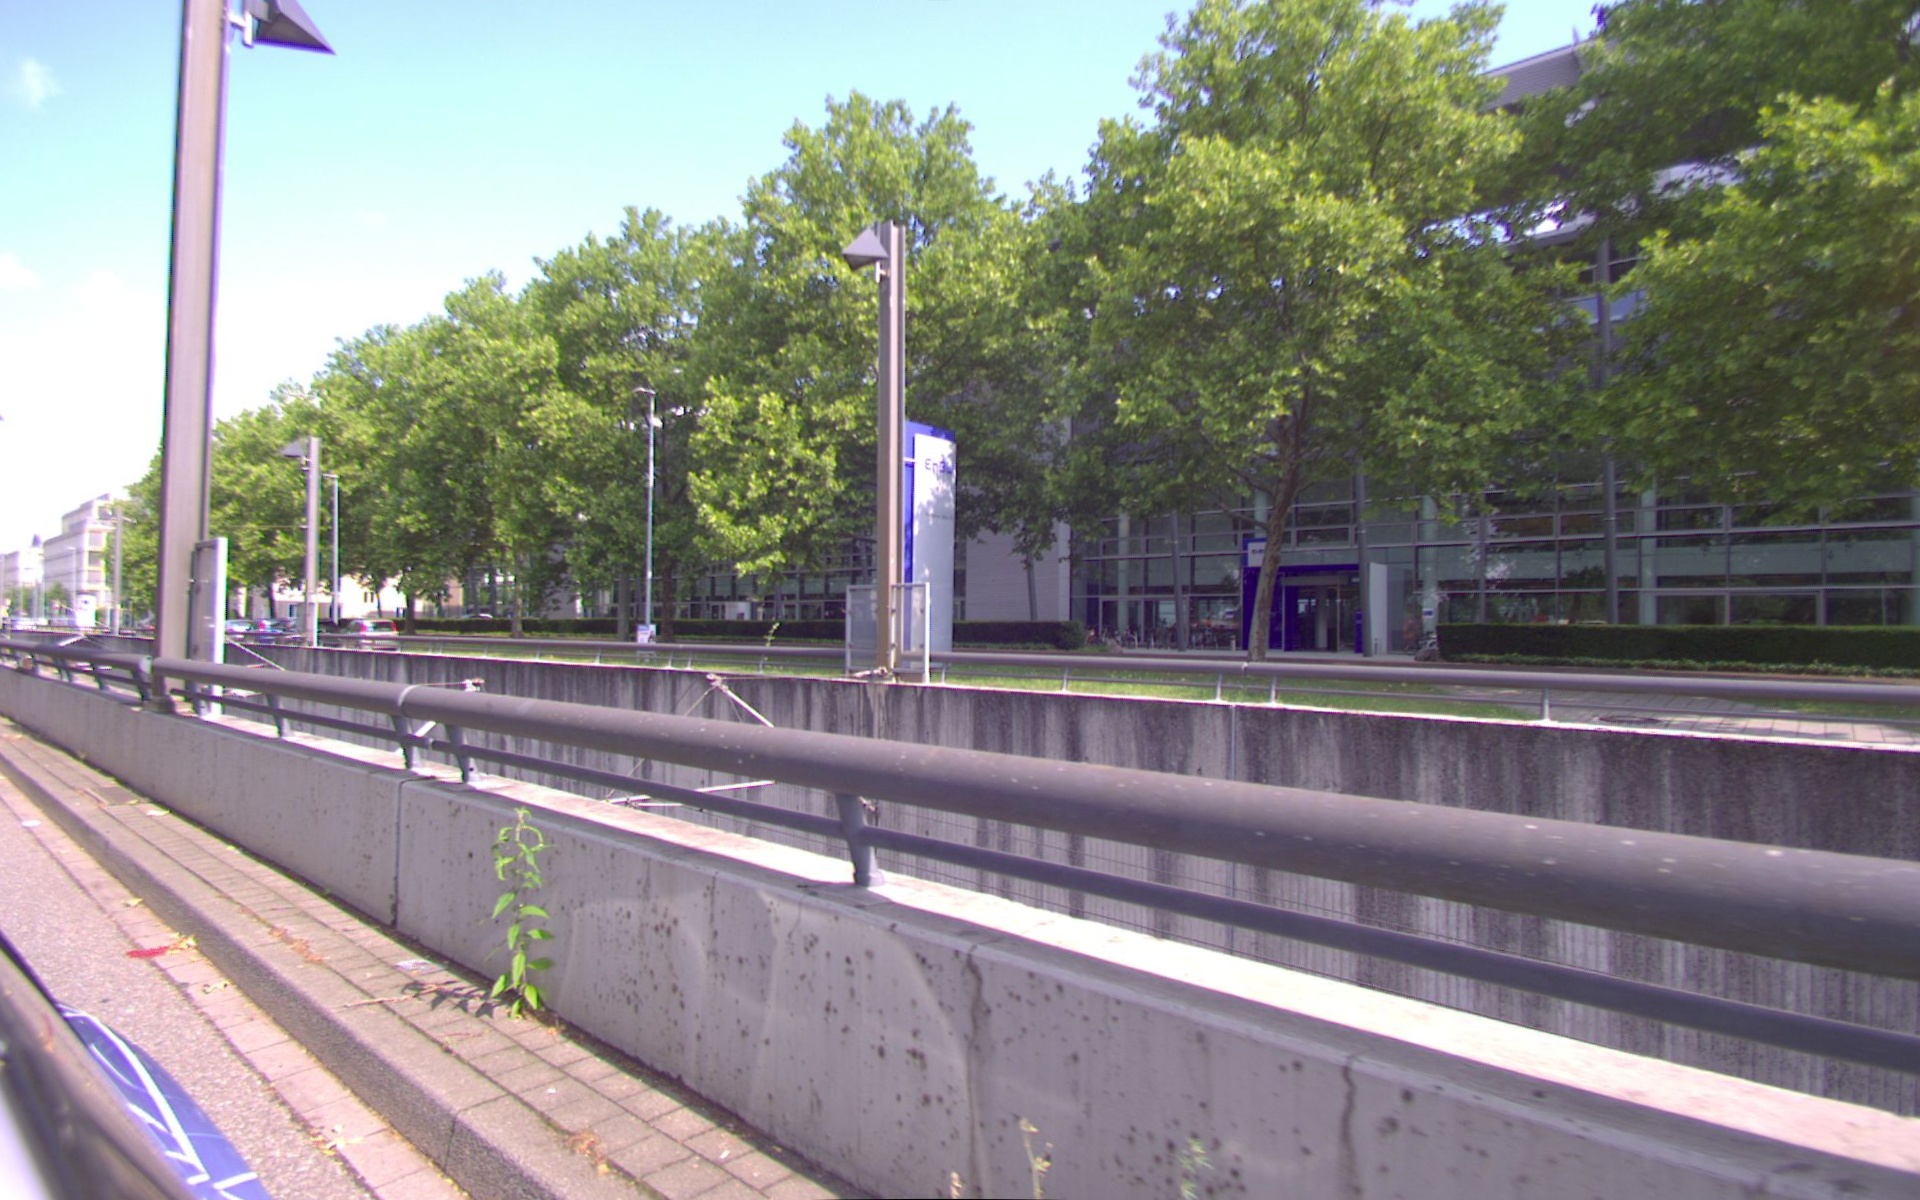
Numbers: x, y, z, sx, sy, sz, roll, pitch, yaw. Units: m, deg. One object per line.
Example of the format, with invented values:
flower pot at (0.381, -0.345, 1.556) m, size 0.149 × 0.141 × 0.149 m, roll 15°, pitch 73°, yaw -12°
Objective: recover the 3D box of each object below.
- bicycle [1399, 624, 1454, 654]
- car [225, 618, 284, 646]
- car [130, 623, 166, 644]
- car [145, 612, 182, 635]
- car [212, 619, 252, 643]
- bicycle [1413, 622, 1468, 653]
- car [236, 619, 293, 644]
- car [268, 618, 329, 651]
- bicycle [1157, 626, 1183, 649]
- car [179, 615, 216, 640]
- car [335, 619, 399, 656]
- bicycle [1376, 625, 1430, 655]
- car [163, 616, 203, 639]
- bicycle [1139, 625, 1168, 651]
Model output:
bicycle at (18.403, 1.546, 39.921) m, size 2.232 × 1.158 × 0.638 m, roll 2°, pitch -2°, yaw -24°
car at (-35.831, 1.621, 51.367) m, size 3.895 × 1.387 × 1.559 m, roll -1°, pitch -2°, yaw 42°
car at (-54.139, 2.211, 67.466) m, size 3.184 × 1.387 × 1.292 m, roll -1°, pitch -2°, yaw 42°
car at (-50.479, 1.487, 64.139) m, size 3.184 × 1.387 × 1.292 m, roll -1°, pitch -2°, yaw 42°
car at (-39.029, 1.641, 54.234) m, size 2.548 × 1.253 × 1.165 m, roll -1°, pitch -1°, yaw 41°
bicycle at (18.641, 1.464, 39.264) m, size 2.232 × 1.158 × 0.638 m, roll 2°, pitch -2°, yaw -25°
car at (-34.970, 1.598, 50.877) m, size 3.126 × 1.215 × 1.590 m, roll -1°, pitch -2°, yaw 41°
car at (-30.512, 1.565, 46.660) m, size 3.156 × 1.445 × 1.561 m, roll -1°, pitch -2°, yaw 42°
bicycle at (9.594, 1.716, 46.239) m, size 0.586 × 1.031 × 2.339 m, roll 0°, pitch -1°, yaw -2°
car at (-43.553, 1.550, 57.780) m, size 2.744 × 1.387 × 1.152 m, roll -1°, pitch -2°, yaw 42°
car at (-24.930, 1.564, 42.506) m, size 3.156 × 1.467 × 1.402 m, roll -1°, pitch -2°, yaw 42°
bicycle at (17.956, 1.620, 40.981) m, size 2.232 × 1.158 × 0.638 m, roll 2°, pitch -5°, yaw -24°
car at (-46.553, 1.638, 60.588) m, size 3.184 × 1.387 × 1.292 m, roll -1°, pitch -2°, yaw 42°
bicycle at (8.829, 1.727, 46.248) m, size 0.802 × 1.186 × 2.339 m, roll 0°, pitch -1°, yaw -2°
